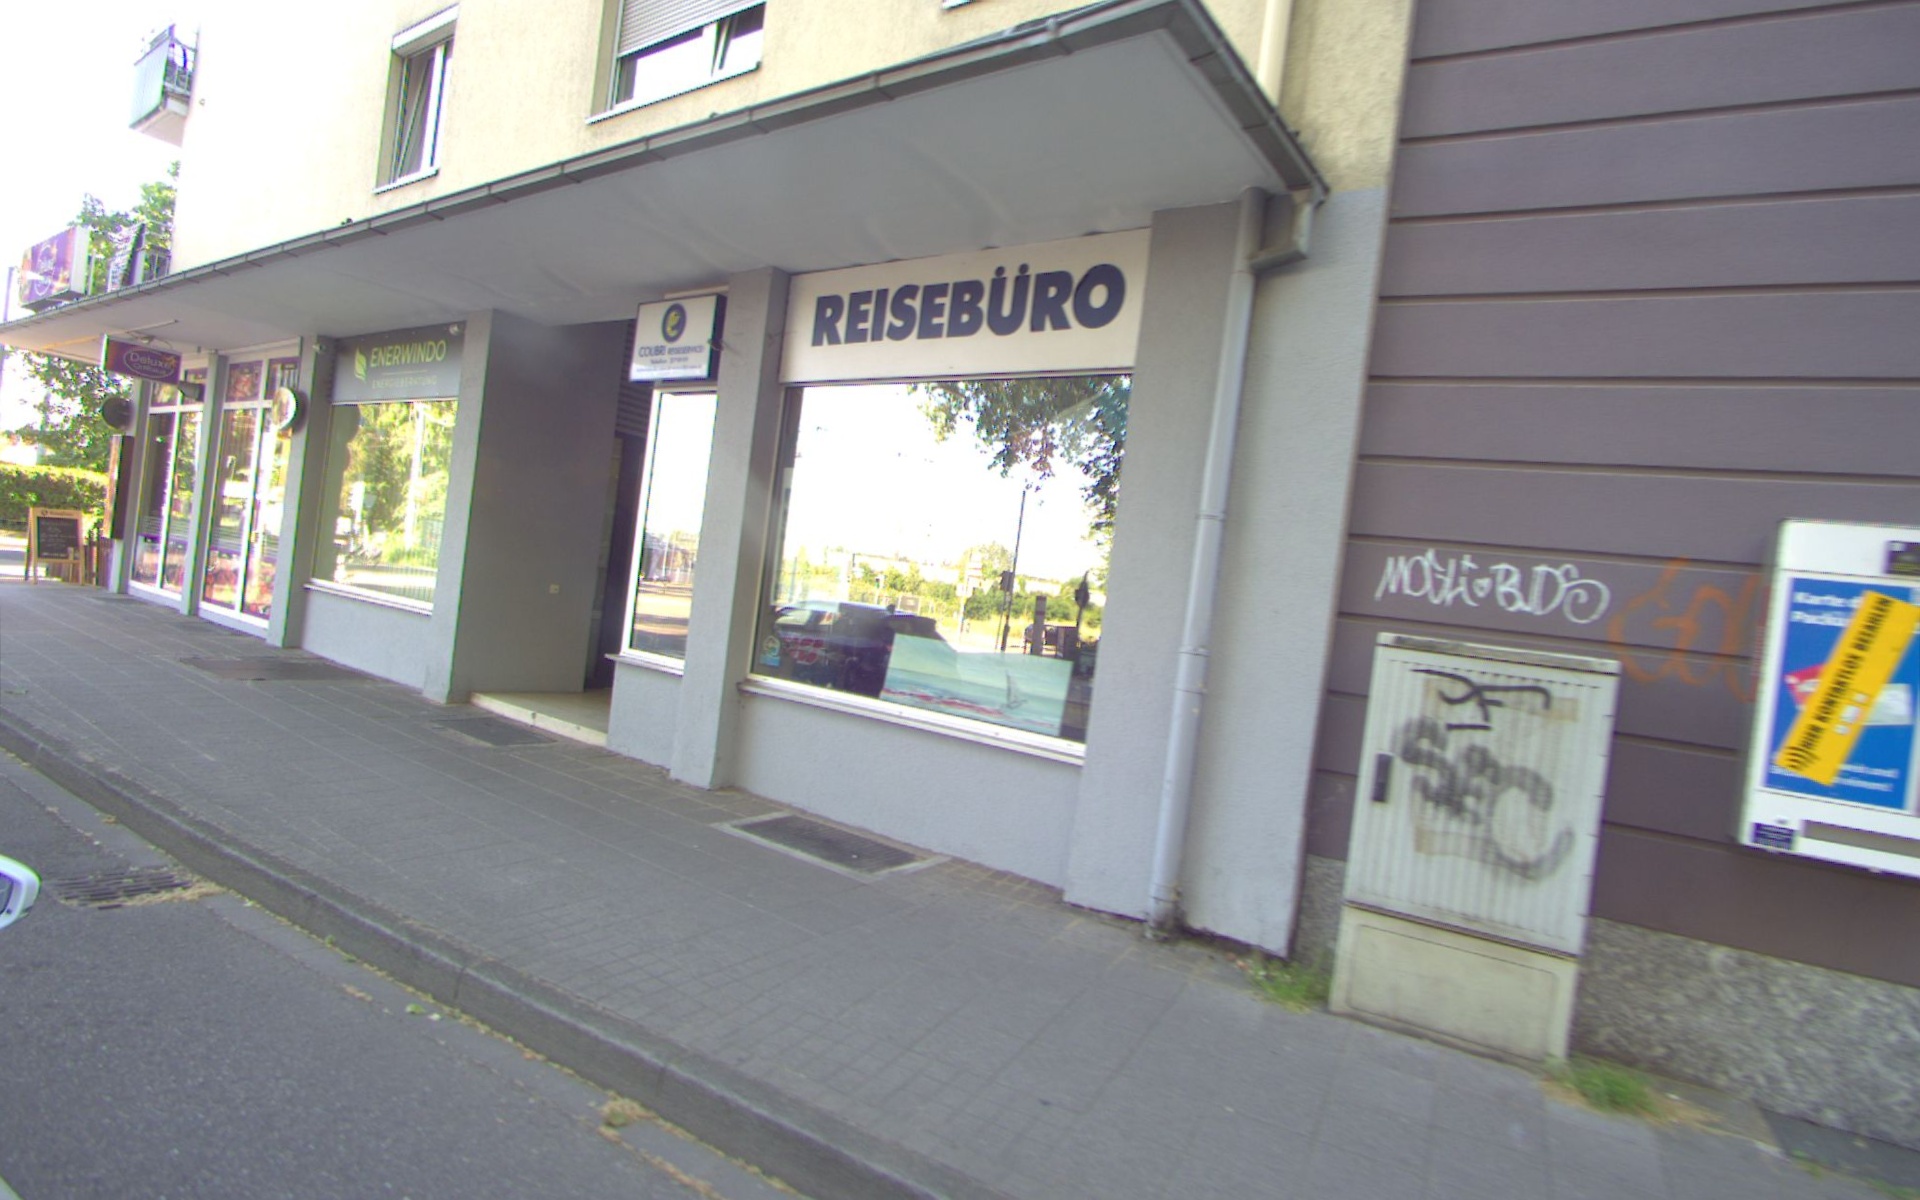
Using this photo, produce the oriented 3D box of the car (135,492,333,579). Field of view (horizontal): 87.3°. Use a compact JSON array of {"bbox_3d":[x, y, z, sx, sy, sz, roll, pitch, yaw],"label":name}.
[{"bbox_3d":[-20.610,-1.770,28.699,1.781,1.834,4.172,3,-3,40],"label":"car"}]
